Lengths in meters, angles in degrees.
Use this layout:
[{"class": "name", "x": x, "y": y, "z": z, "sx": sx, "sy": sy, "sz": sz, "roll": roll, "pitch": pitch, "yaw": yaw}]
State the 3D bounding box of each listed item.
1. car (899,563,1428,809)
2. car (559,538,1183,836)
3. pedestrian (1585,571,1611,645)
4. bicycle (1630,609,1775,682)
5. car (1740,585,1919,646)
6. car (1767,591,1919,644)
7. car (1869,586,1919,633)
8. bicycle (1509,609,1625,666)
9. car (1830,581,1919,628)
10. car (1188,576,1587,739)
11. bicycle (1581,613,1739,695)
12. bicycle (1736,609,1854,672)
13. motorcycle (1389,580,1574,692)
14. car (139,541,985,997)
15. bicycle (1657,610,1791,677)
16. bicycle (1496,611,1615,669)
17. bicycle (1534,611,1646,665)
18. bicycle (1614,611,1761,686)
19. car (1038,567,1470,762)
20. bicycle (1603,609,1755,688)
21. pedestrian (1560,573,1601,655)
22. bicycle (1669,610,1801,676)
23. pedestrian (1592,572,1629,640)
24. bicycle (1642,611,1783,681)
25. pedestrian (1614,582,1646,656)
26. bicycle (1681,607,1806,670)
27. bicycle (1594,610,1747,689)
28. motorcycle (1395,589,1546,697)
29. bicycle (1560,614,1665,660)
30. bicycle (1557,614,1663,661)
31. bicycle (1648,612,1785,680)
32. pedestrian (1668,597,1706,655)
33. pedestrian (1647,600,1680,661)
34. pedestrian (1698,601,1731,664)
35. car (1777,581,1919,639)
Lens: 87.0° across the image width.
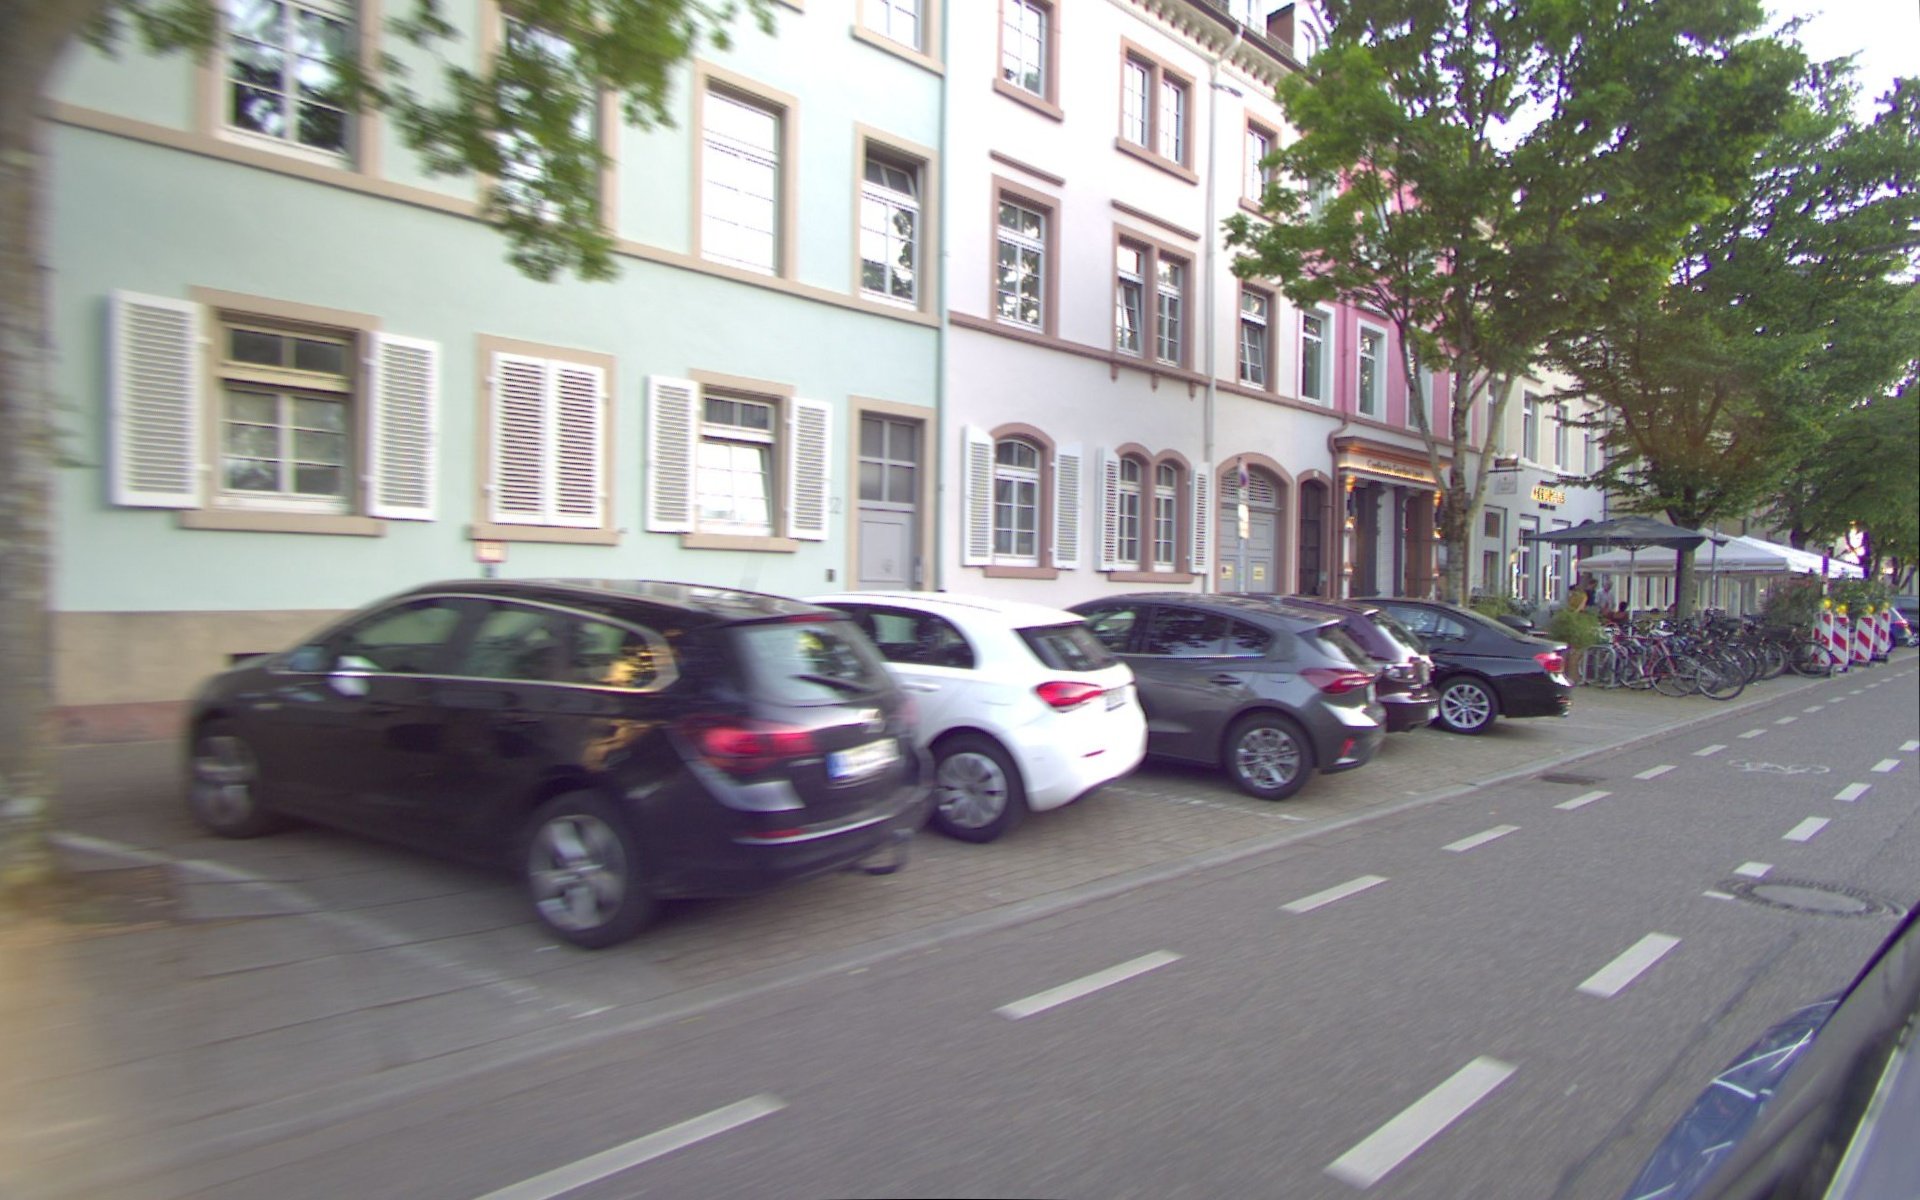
[{"class": "car", "x": 1.690, "y": 0.541, "z": 8.758, "sx": 4.096, "sy": 1.488, "sz": 1.805, "roll": 5, "pitch": 3, "yaw": 30}, {"class": "car", "x": -0.658, "y": 0.410, "z": 7.398, "sx": 4.088, "sy": 1.488, "sz": 1.970, "roll": 4, "pitch": 3, "yaw": 25}, {"class": "pedestrian", "x": 15.844, "y": 0.191, "z": 25.149, "sx": 0.548, "sy": 1.785, "sz": 0.843, "roll": 0, "pitch": 0, "yaw": 32}, {"class": "bicycle", "x": 12.840, "y": 0.762, "z": 17.554, "sx": 0.598, "sy": 1.044, "sz": 1.890, "roll": 0, "pitch": 4, "yaw": -42}, {"class": "car", "x": 26.001, "y": 0.426, "z": 30.196, "sx": 3.932, "sy": 1.572, "sz": 1.692, "roll": 3, "pitch": 2, "yaw": 25}, {"class": "car", "x": 28.004, "y": 0.534, "z": 31.830, "sx": 3.751, "sy": 1.425, "sz": 1.689, "roll": 3, "pitch": 2, "yaw": 29}, {"class": "car", "x": 37.521, "y": 0.457, "z": 38.207, "sx": 4.652, "sy": 1.708, "sz": 1.976, "roll": 5, "pitch": 3, "yaw": 44}, {"class": "bicycle", "x": 11.481, "y": 0.690, "z": 19.192, "sx": 0.320, "sy": 0.883, "sz": 1.819, "roll": 1, "pitch": 4, "yaw": -42}, {"class": "car", "x": 38.466, "y": 0.220, "z": 40.932, "sx": 1.973, "sy": 1.708, "sz": 4.659, "roll": 1, "pitch": 3, "yaw": -41}, {"class": "car", "x": 5.084, "y": 0.555, "z": 12.268, "sx": 4.143, "sy": 1.444, "sz": 1.804, "roll": 5, "pitch": 3, "yaw": 31}, {"class": "bicycle", "x": 10.894, "y": 0.809, "z": 15.817, "sx": 0.524, "sy": 1.044, "sz": 1.907, "roll": 0, "pitch": 4, "yaw": -42}, {"class": "bicycle", "x": 16.465, "y": 0.777, "z": 19.989, "sx": 0.547, "sy": 1.044, "sz": 1.682, "roll": 0, "pitch": 4, "yaw": -42}, {"class": "motorcycle", "x": 7.790, "y": 0.487, "z": 15.213, "sx": 0.951, "sy": 1.479, "sz": 2.226, "roll": 0, "pitch": 3, "yaw": -42}, {"class": "car", "x": -2.150, "y": 0.544, "z": 5.464, "sx": 4.088, "sy": 1.488, "sz": 1.998, "roll": 4, "pitch": 3, "yaw": 25}, {"class": "bicycle", "x": 14.349, "y": 0.796, "z": 19.053, "sx": 0.598, "sy": 1.044, "sz": 1.890, "roll": 0, "pitch": 4, "yaw": -42}, {"class": "bicycle", "x": 10.916, "y": 0.714, "z": 18.610, "sx": 0.320, "sy": 0.883, "sz": 1.819, "roll": 1, "pitch": 4, "yaw": -42}, {"class": "bicycle", "x": 12.407, "y": 0.725, "z": 19.981, "sx": 0.320, "sy": 0.883, "sz": 1.819, "roll": 1, "pitch": 4, "yaw": -42}, {"class": "bicycle", "x": 12.303, "y": 0.785, "z": 17.158, "sx": 0.598, "sy": 1.044, "sz": 1.890, "roll": 0, "pitch": 4, "yaw": -42}, {"class": "car", "x": 3.039, "y": 0.513, "z": 10.681, "sx": 3.935, "sy": 1.488, "sz": 1.977, "roll": 5, "pitch": 3, "yaw": 34}, {"class": "bicycle", "x": 11.813, "y": 0.758, "z": 16.679, "sx": 0.663, "sy": 1.080, "sz": 1.890, "roll": 0, "pitch": 4, "yaw": -42}, {"class": "pedestrian", "x": 13.798, "y": 0.305, "z": 22.507, "sx": 0.878, "sy": 1.785, "sz": 0.551, "roll": 0, "pitch": 0, "yaw": -41}, {"class": "bicycle", "x": 14.883, "y": 0.801, "z": 19.475, "sx": 0.598, "sy": 1.044, "sz": 1.890, "roll": 0, "pitch": 4, "yaw": -42}, {"class": "pedestrian", "x": 17.315, "y": 0.153, "z": 26.944, "sx": 0.696, "sy": 1.785, "sz": 0.710, "roll": 0, "pitch": 0, "yaw": 22}, {"class": "bicycle", "x": 13.378, "y": 0.788, "z": 18.040, "sx": 0.598, "sy": 1.044, "sz": 1.890, "roll": 0, "pitch": 4, "yaw": -42}, {"class": "pedestrian", "x": 16.475, "y": 0.460, "z": 24.870, "sx": 0.550, "sy": 1.785, "sz": 0.704, "roll": 0, "pitch": 0, "yaw": 43}, {"class": "bicycle", "x": 15.423, "y": 0.736, "z": 19.955, "sx": 0.598, "sy": 1.044, "sz": 1.819, "roll": 0, "pitch": 4, "yaw": -42}, {"class": "bicycle", "x": 11.338, "y": 0.766, "z": 16.200, "sx": 0.581, "sy": 1.044, "sz": 1.866, "roll": 0, "pitch": 4, "yaw": -43}, {"class": "motorcycle", "x": 7.155, "y": 0.561, "z": 14.255, "sx": 0.524, "sy": 1.360, "sz": 1.789, "roll": 0, "pitch": 3, "yaw": -42}, {"class": "bicycle", "x": 13.731, "y": 0.755, "z": 21.336, "sx": 0.381, "sy": 0.883, "sz": 1.818, "roll": 0, "pitch": 1, "yaw": -41}, {"class": "bicycle", "x": 13.327, "y": 0.755, "z": 20.784, "sx": 0.320, "sy": 0.883, "sz": 1.818, "roll": 0, "pitch": 1, "yaw": -42}, {"class": "bicycle", "x": 13.850, "y": 0.814, "z": 18.579, "sx": 0.598, "sy": 1.044, "sz": 1.890, "roll": 0, "pitch": 4, "yaw": -42}, {"class": "pedestrian", "x": 16.694, "y": 0.584, "z": 23.229, "sx": 0.494, "sy": 1.308, "sz": 0.599, "roll": 0, "pitch": 0, "yaw": -38}, {"class": "pedestrian", "x": 15.446, "y": 0.667, "z": 22.226, "sx": 0.590, "sy": 1.308, "sz": 0.502, "roll": 0, "pitch": 0, "yaw": -44}, {"class": "pedestrian", "x": 16.144, "y": 0.685, "z": 21.656, "sx": 0.502, "sy": 1.308, "sz": 0.590, "roll": 0, "pitch": 0, "yaw": 45}, {"class": "car", "x": 31.749, "y": 0.341, "z": 35.653, "sx": 4.112, "sy": 1.828, "sz": 1.994, "roll": 3, "pitch": 2, "yaw": 22}]
